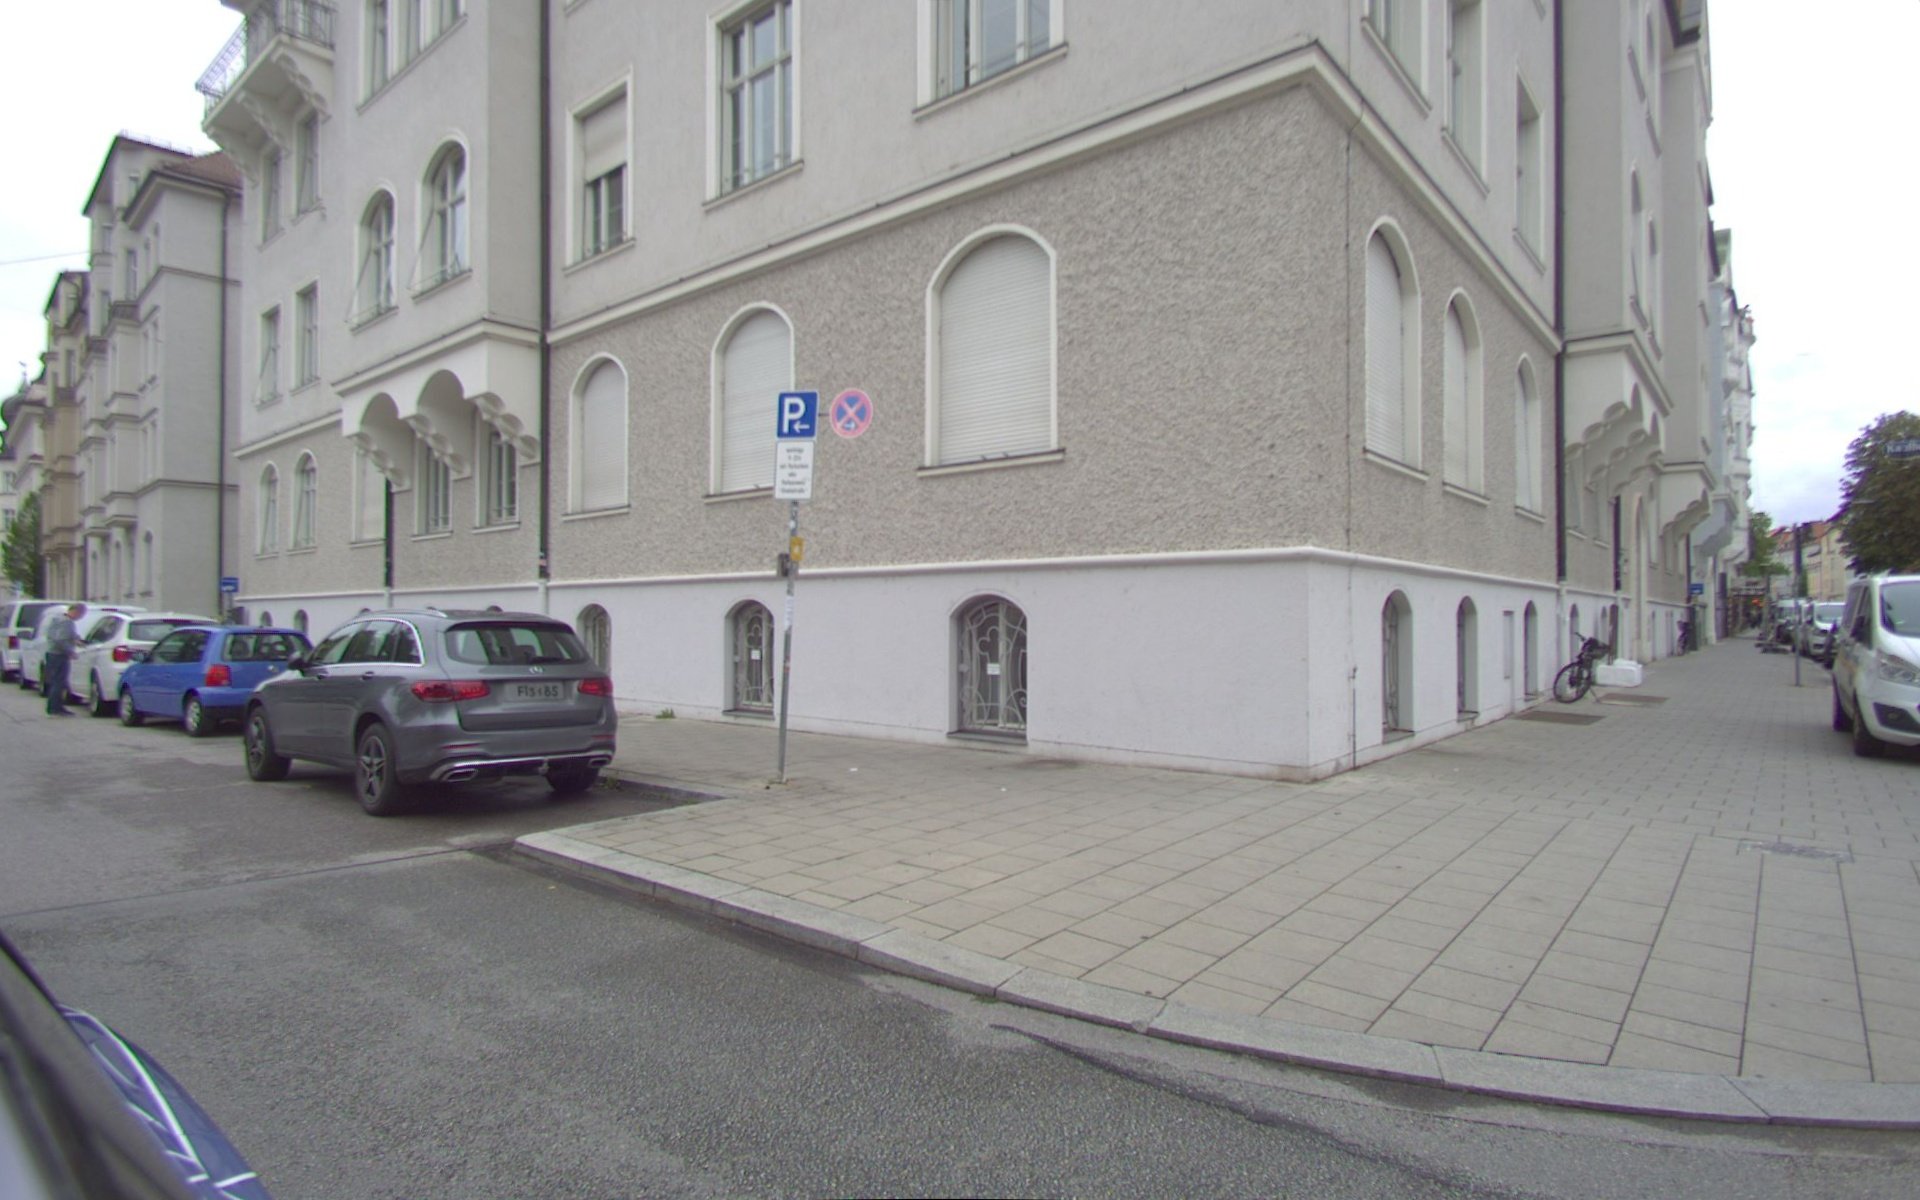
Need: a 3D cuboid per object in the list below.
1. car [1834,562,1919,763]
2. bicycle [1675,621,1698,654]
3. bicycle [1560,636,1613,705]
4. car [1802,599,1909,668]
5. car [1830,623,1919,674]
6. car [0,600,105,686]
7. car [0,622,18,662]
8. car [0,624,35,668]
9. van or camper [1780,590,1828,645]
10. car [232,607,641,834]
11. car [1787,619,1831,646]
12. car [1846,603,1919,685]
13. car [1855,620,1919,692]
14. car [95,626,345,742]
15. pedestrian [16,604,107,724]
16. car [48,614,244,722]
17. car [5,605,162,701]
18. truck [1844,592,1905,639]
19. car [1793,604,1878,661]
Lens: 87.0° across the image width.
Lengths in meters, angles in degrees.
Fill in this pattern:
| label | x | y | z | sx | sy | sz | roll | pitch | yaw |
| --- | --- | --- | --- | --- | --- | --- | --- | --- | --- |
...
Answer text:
| label | x | y | z | sx | sy | sz | roll | pitch | yaw |
| --- | --- | --- | --- | --- | --- | --- | --- | --- | --- |
| car | 11.029 | 0.614 | 11.045 | 1.922 | 1.895 | 4.849 | -1 | -1 | 37 |
| bicycle | 24.135 | 1.240 | 33.614 | 0.491 | 1.057 | 1.806 | -1 | -2 | 40 |
| bicycle | 10.366 | 1.139 | 16.723 | 0.491 | 1.057 | 1.806 | -1 | -2 | 40 |
| car | 29.445 | 1.082 | 33.416 | 2.120 | 2.108 | 4.764 | -1 | -2 | 36 |
| car | 25.845 | 1.324 | 28.619 | 1.695 | 1.356 | 3.493 | -1 | -2 | 38 |
| car | -23.061 | 1.046 | 25.251 | 4.954 | 1.953 | 1.836 | -1 | -3 | 41 |
| car | -36.747 | 1.541 | 37.811 | 4.377 | 1.475 | 1.836 | -1 | -3 | 41 |
| car | -33.023 | 1.531 | 34.388 | 4.377 | 1.423 | 1.836 | -1 | -4 | 41 |
| van or camper | 48.195 | 0.961 | 57.762 | 1.999 | 2.935 | 6.351 | -1 | -1 | 40 |
| car | -4.975 | 0.915 | 9.325 | 4.493 | 1.614 | 1.729 | -1 | -3 | 40 |
| car | 44.221 | 1.672 | 52.747 | 1.696 | 1.356 | 3.492 | -1 | -2 | 39 |
| car | 22.896 | 1.039 | 24.564 | 2.026 | 1.852 | 4.079 | -1 | -2 | 41 |
| car | 19.387 | 1.101 | 20.519 | 1.696 | 1.356 | 3.631 | -1 | -2 | 39 |
| car | -10.510 | 1.101 | 14.321 | 3.653 | 1.425 | 1.678 | -1 | -3 | 34 |
| pedestrian | -13.803 | 0.956 | 15.553 | 0.877 | 1.769 | 0.950 | -1 | -2 | 43 |
| car | -13.960 | 1.074 | 17.261 | 4.493 | 1.614 | 1.729 | -1 | -3 | 40 |
| car | -18.431 | 1.054 | 21.188 | 5.034 | 1.802 | 1.728 | -1 | -3 | 41 |
| truck | 75.183 | 1.285 | 83.378 | 3.188 | 3.651 | 8.617 | -1 | -2 | 39 |
| car | 33.018 | 1.218 | 38.286 | 2.121 | 2.009 | 4.761 | -1 | -2 | 38 |
